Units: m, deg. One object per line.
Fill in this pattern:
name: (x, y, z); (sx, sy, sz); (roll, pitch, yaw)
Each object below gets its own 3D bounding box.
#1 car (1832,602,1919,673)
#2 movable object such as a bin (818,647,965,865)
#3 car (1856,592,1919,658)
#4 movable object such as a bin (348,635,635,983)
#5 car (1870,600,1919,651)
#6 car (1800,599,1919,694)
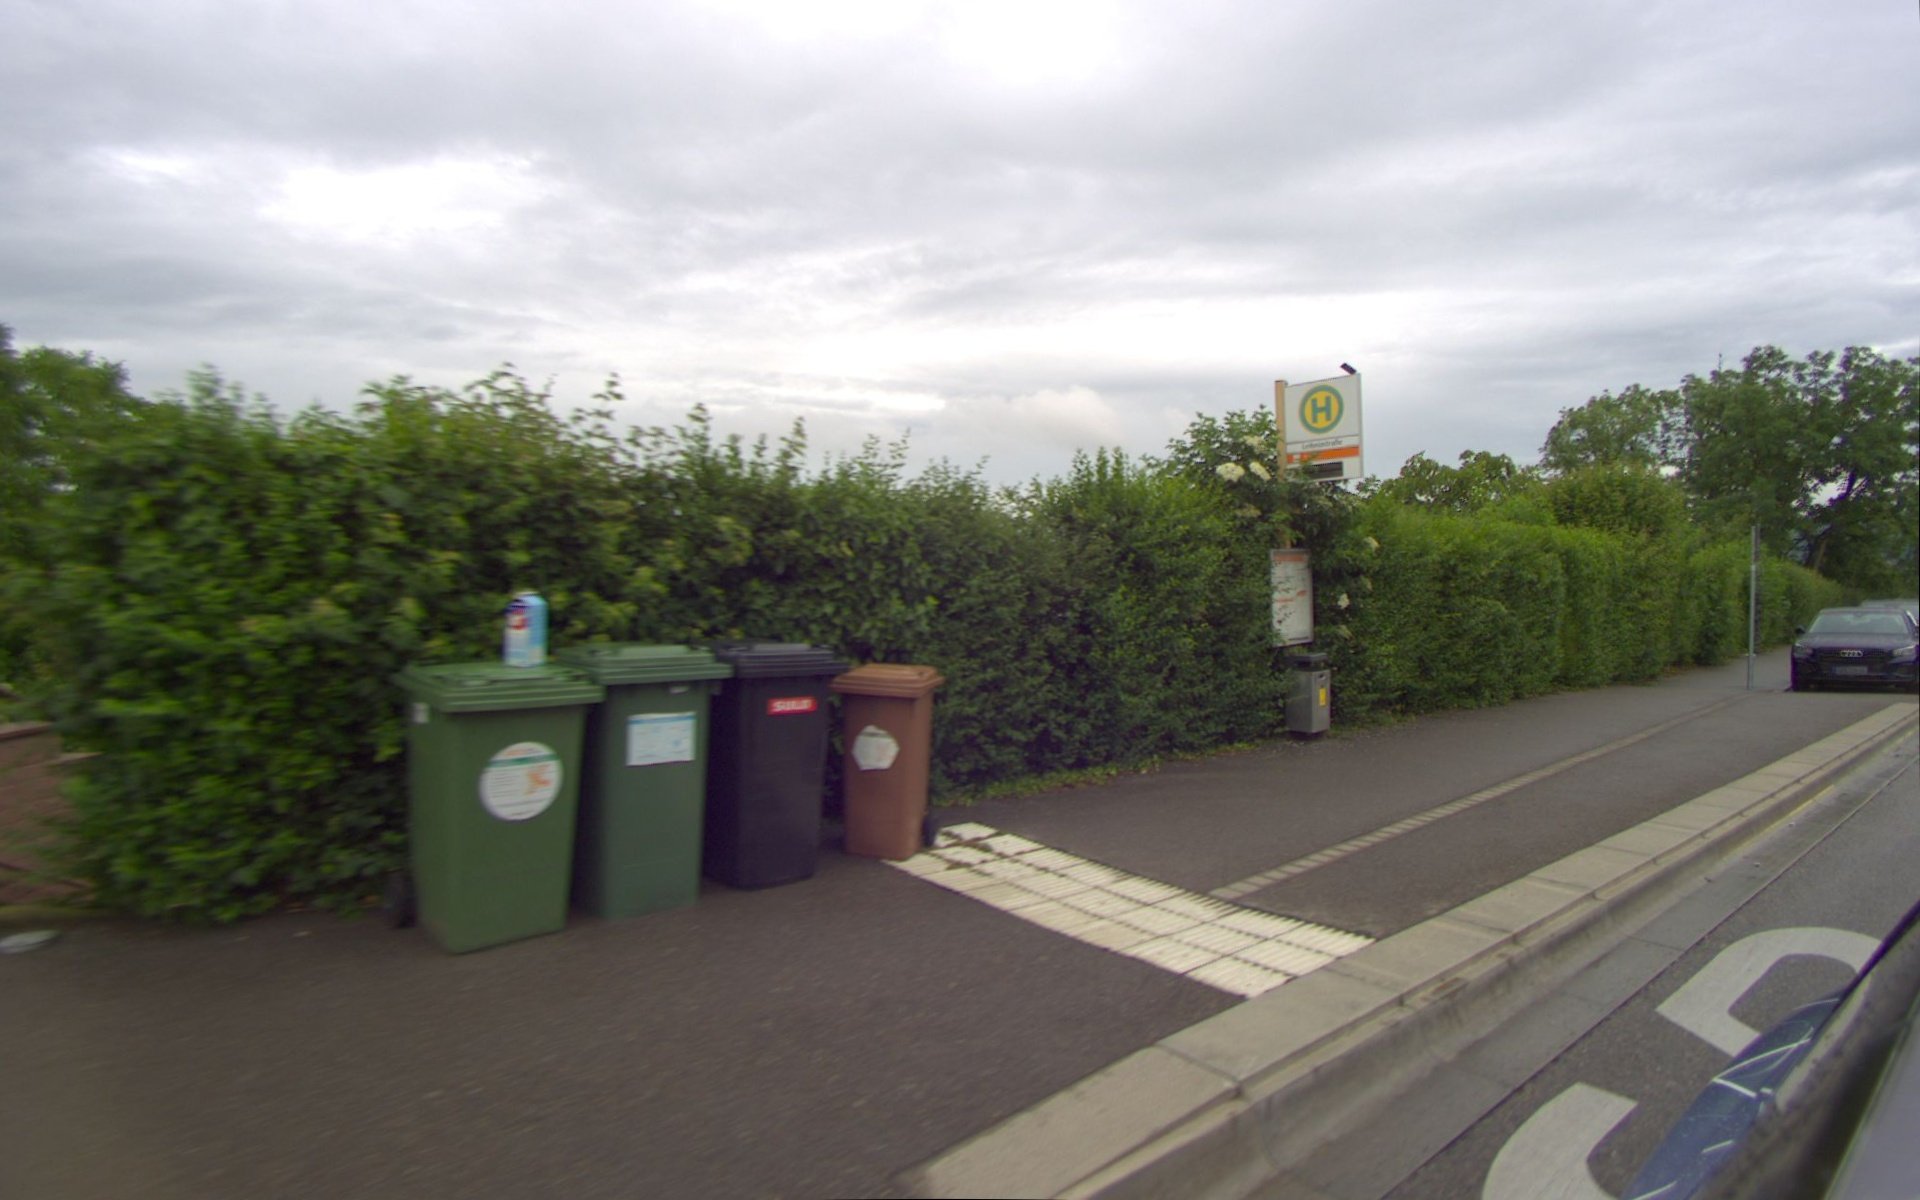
car: (20.681, 0.789, 22.421); (4.532, 1.423, 1.714); (1, 0, -45)
movable object such as a bin: (-0.326, 0.739, 5.079); (0.563, 0.981, 0.667); (0, -1, 14)
car: (25.815, 0.648, 27.553); (1.887, 1.684, 4.474); (0, -1, 45)
movable object such as a bin: (-1.732, 0.686, 3.743); (0.745, 1.042, 0.712); (1, 2, -45)
car: (29.528, 0.767, 30.917); (1.791, 1.458, 4.588); (1, 0, 32)
car: (16.824, 0.758, 18.602); (4.137, 1.549, 1.755); (0, 0, -45)
